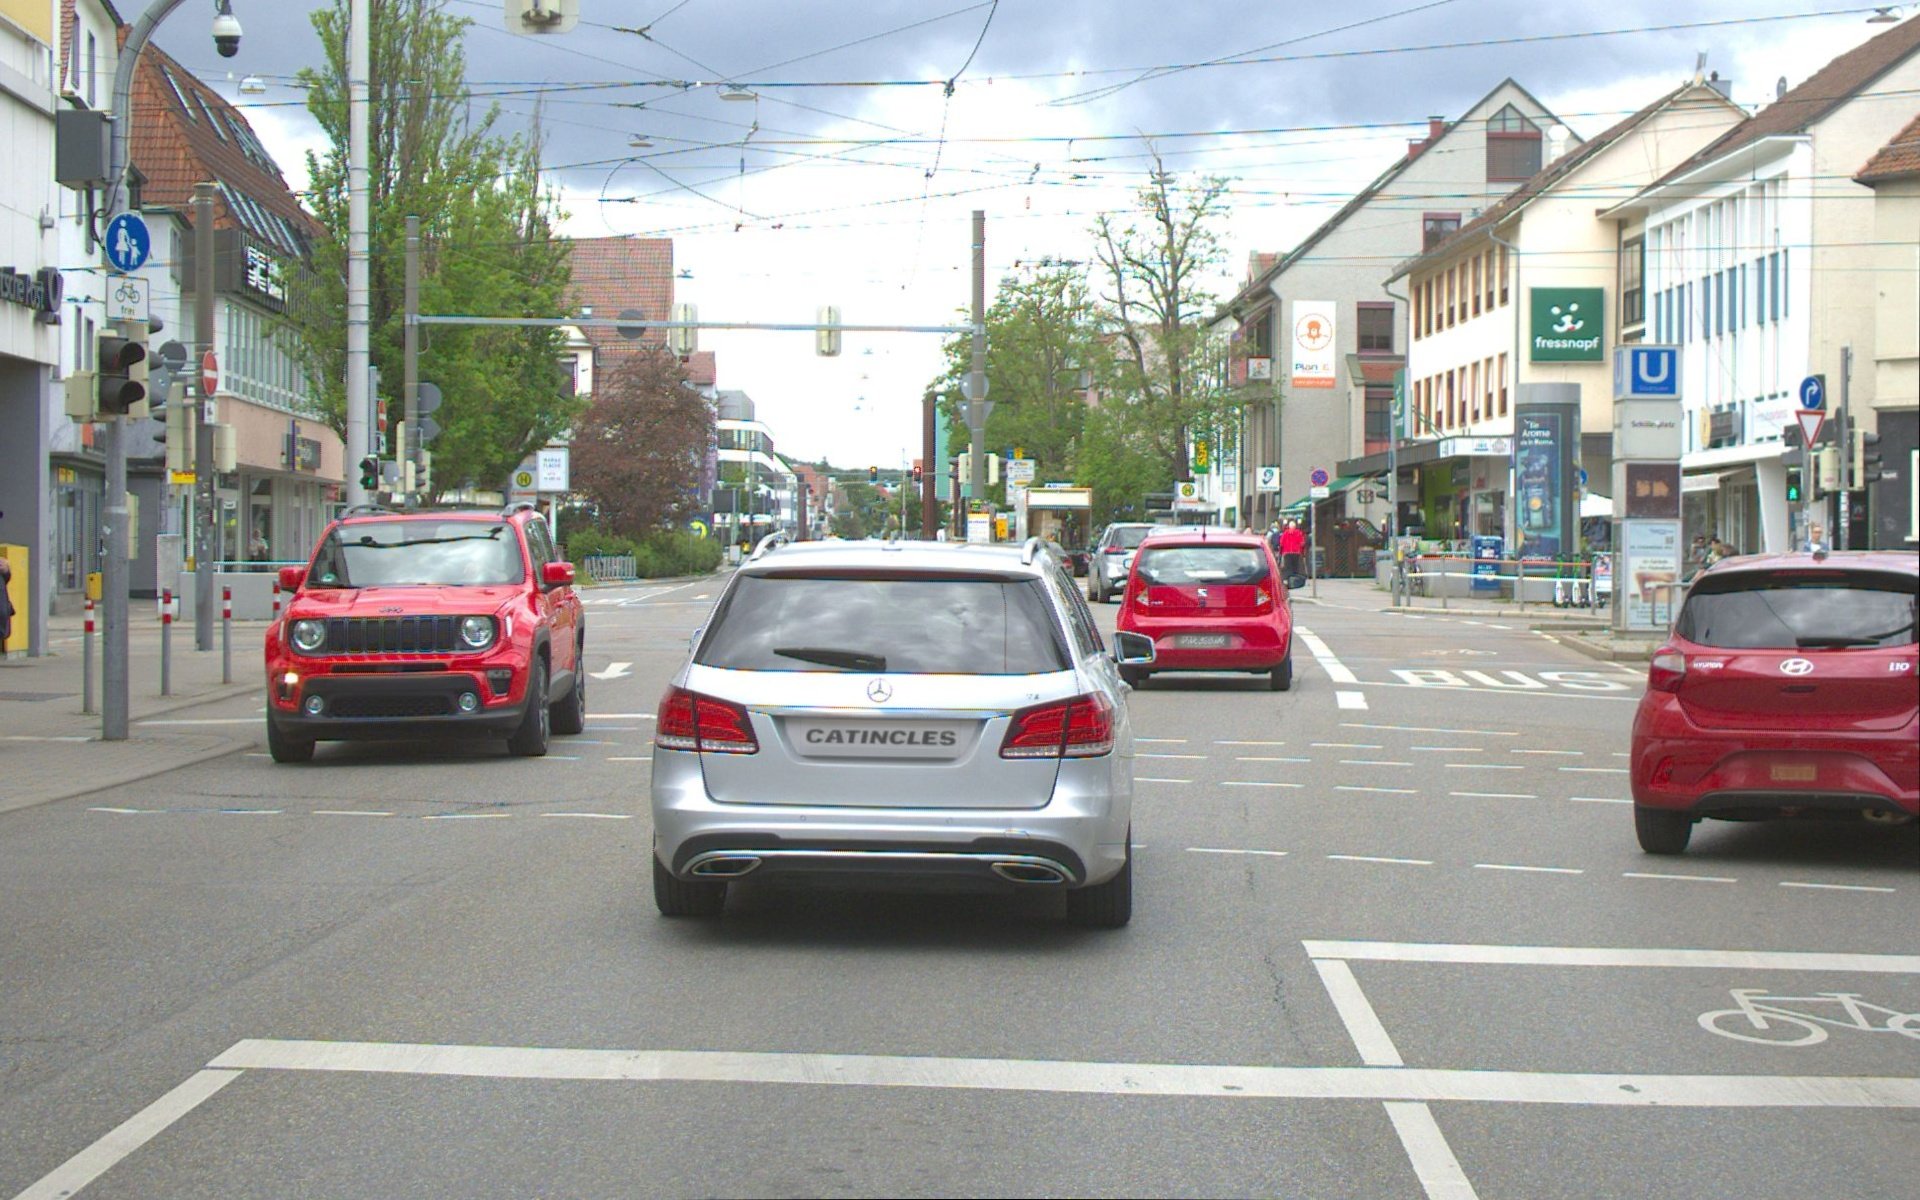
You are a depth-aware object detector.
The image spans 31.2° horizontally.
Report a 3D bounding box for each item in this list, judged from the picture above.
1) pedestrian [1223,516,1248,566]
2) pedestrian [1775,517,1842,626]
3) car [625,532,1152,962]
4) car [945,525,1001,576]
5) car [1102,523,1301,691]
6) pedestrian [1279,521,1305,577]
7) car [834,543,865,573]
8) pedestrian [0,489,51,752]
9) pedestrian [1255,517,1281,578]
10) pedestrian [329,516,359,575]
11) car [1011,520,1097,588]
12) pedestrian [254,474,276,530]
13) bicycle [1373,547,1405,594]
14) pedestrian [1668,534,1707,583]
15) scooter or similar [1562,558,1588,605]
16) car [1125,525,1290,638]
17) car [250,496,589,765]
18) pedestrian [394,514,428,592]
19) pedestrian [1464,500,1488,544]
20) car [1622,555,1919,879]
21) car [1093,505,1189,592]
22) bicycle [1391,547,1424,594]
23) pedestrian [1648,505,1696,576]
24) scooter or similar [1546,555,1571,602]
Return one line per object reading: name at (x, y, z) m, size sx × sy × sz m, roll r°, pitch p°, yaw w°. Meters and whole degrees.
pedestrian at (8.022, -1.708, 100.033) m, size 0.578 × 1.430 × 0.651 m, roll 1°, pitch 1°, yaw -7°
pedestrian at (13.466, -0.457, 54.565) m, size 0.841 × 1.712 × 0.727 m, roll 0°, pitch 1°, yaw -5°
car at (-0.289, 0.475, 14.146) m, size 1.845 × 1.503 × 4.171 m, roll 0°, pitch 1°, yaw -1°
car at (0.521, -2.029, 139.762) m, size 1.993 × 2.007 × 4.001 m, roll 1°, pitch 1°, yaw -4°
car at (2.395, 0.022, 33.304) m, size 1.734 × 1.503 × 3.999 m, roll 1°, pitch 1°, yaw 6°
pedestrian at (8.898, -1.364, 92.194) m, size 0.578 × 1.464 × 0.651 m, roll 1°, pitch 1°, yaw -3°
car at (-7.423, -2.819, 230.239) m, size 1.993 × 2.007 × 4.001 m, roll 1°, pitch 1°, yaw -3°
pedestrian at (-6.501, 0.115, 22.800) m, size 0.648 × 1.712 × 0.783 m, roll 2°, pitch 1°, yaw 5°
pedestrian at (8.549, -1.452, 95.433) m, size 0.578 × 1.661 × 0.651 m, roll 1°, pitch 1°, yaw -5°
pedestrian at (-16.790, -1.473, 93.671) m, size 0.702 × 1.600 × 0.580 m, roll 0°, pitch 1°, yaw -22°
car at (2.478, -1.245, 91.529) m, size 1.993 × 1.744 × 4.001 m, roll 1°, pitch 1°, yaw -2°
pedestrian at (-19.705, -2.773, 97.487) m, size 0.577 × 1.600 × 0.644 m, roll 0°, pitch 1°, yaw -15°
bicycle at (10.095, -0.693, 81.008) m, size 0.448 × 1.087 × 2.149 m, roll 0°, pitch 1°, yaw -1°
pedestrian at (17.369, -0.990, 82.046) m, size 0.736 × 1.160 × 0.643 m, roll 1°, pitch 1°, yaw -4°
scooter or similar at (13.208, -0.410, 73.862) m, size 0.271 × 0.998 × 1.029 m, roll 0°, pitch 1°, yaw -5°
car at (3.387, -0.286, 47.729) m, size 1.734 × 1.503 × 4.001 m, roll 0°, pitch 1°, yaw -4°
car at (-3.626, 0.154, 23.698) m, size 1.799 × 1.689 × 3.898 m, roll 0°, pitch 1°, yaw -1°
pedestrian at (-11.377, -0.974, 71.278) m, size 0.633 × 1.600 × 0.705 m, roll 0°, pitch 1°, yaw -15°
pedestrian at (14.500, -2.197, 96.609) m, size 0.533 × 1.214 × 0.580 m, roll 1°, pitch 1°, yaw -4°
car at (4.713, 0.507, 17.659) m, size 1.700 × 1.447 × 3.995 m, roll 1°, pitch 1°, yaw 24°
car at (3.714, -1.084, 71.169) m, size 1.734 × 1.753 × 4.000 m, roll 0°, pitch 1°, yaw -1°
bicycle at (10.545, -0.700, 81.018) m, size 0.448 × 1.103 × 2.149 m, roll 0°, pitch 1°, yaw -1°
pedestrian at (16.046, -1.344, 77.514) m, size 0.640 × 1.586 × 0.898 m, roll 1°, pitch 1°, yaw -22°
scooter or similar at (12.845, -0.467, 73.814) m, size 0.271 × 0.998 × 1.029 m, roll 0°, pitch 1°, yaw -5°
